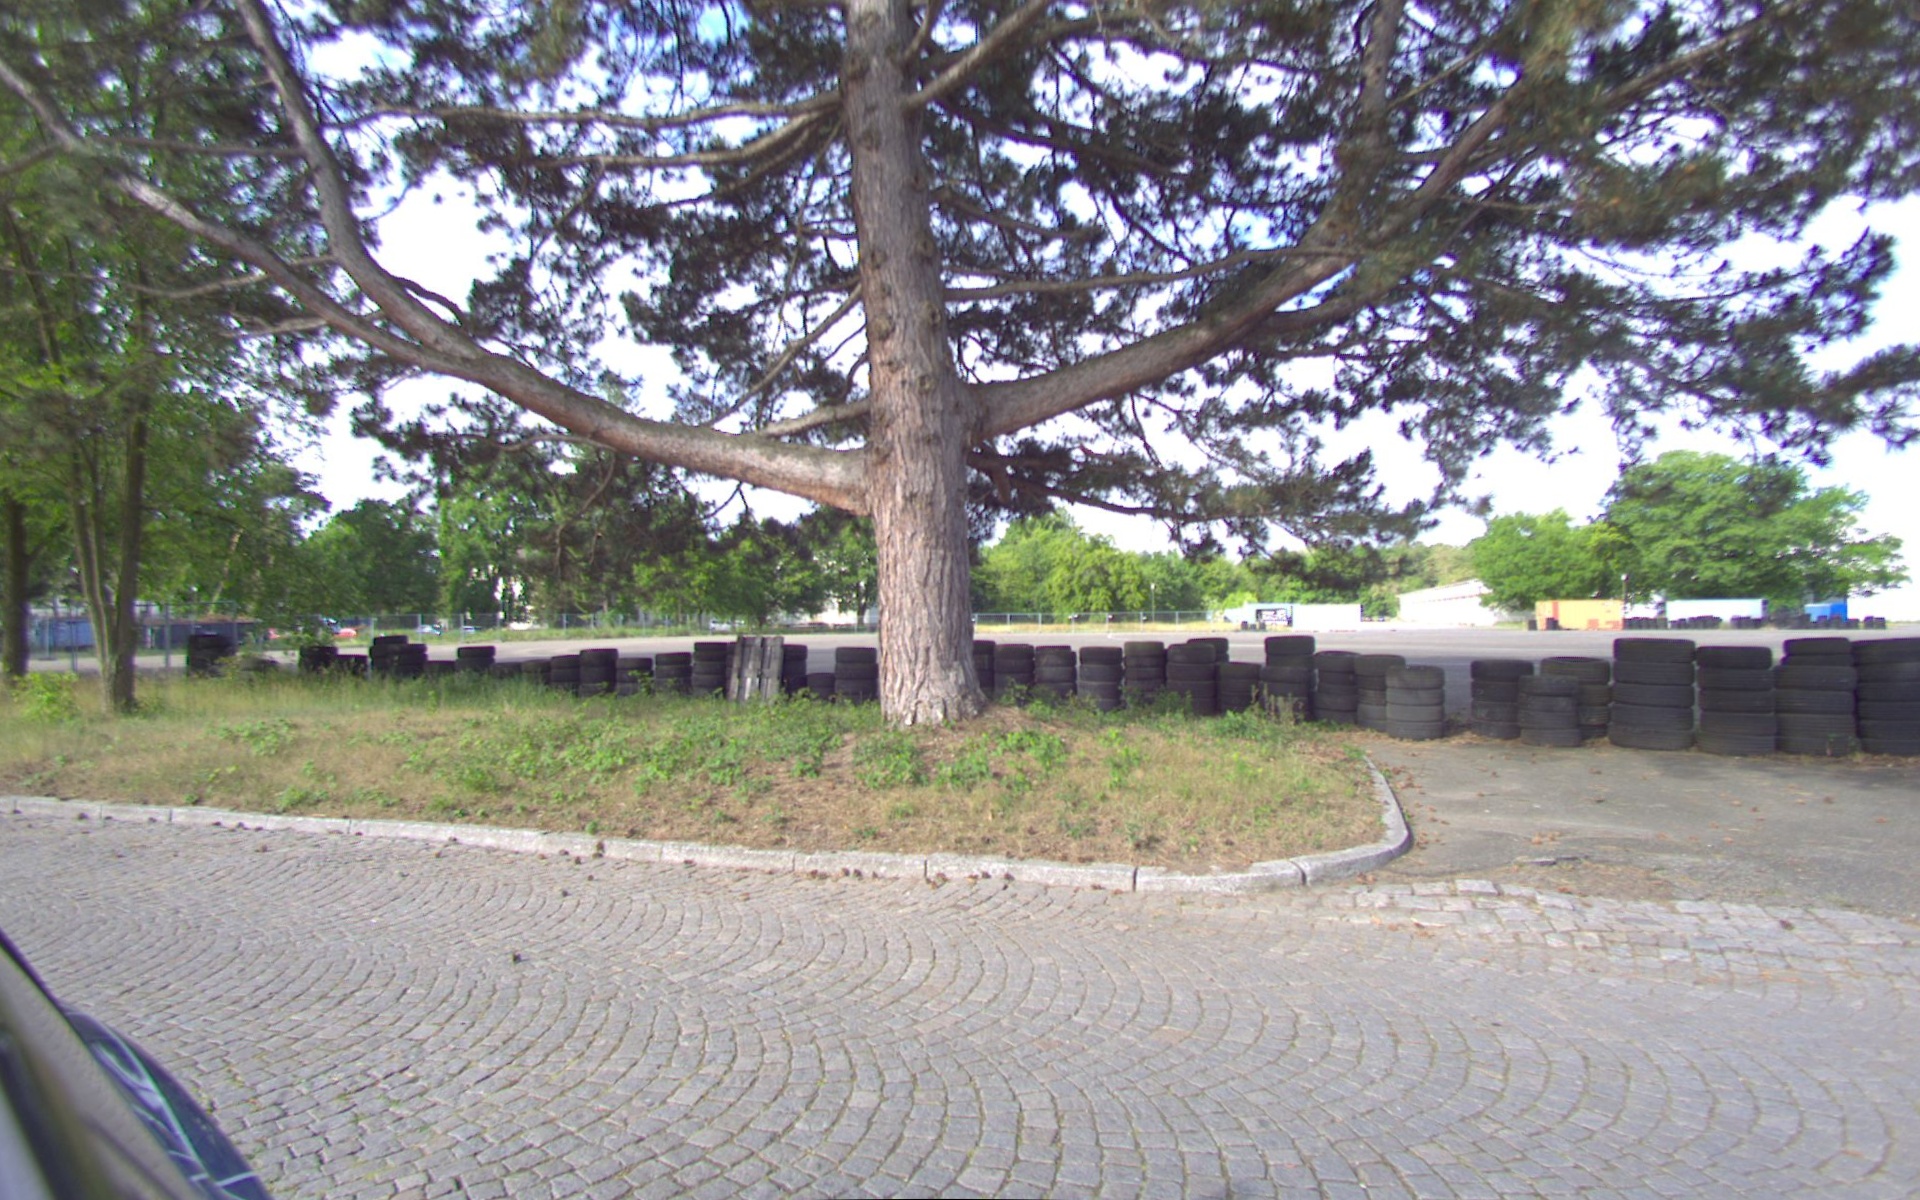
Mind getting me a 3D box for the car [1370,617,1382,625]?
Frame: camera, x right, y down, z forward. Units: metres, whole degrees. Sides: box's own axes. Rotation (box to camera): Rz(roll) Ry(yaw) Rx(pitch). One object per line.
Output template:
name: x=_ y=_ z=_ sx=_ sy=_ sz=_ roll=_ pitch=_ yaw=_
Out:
car: x=95.250 y=4.877 z=231.579 sx=1.982 sy=1.763 sz=3.980 roll=-1 pitch=-1 yaw=15
